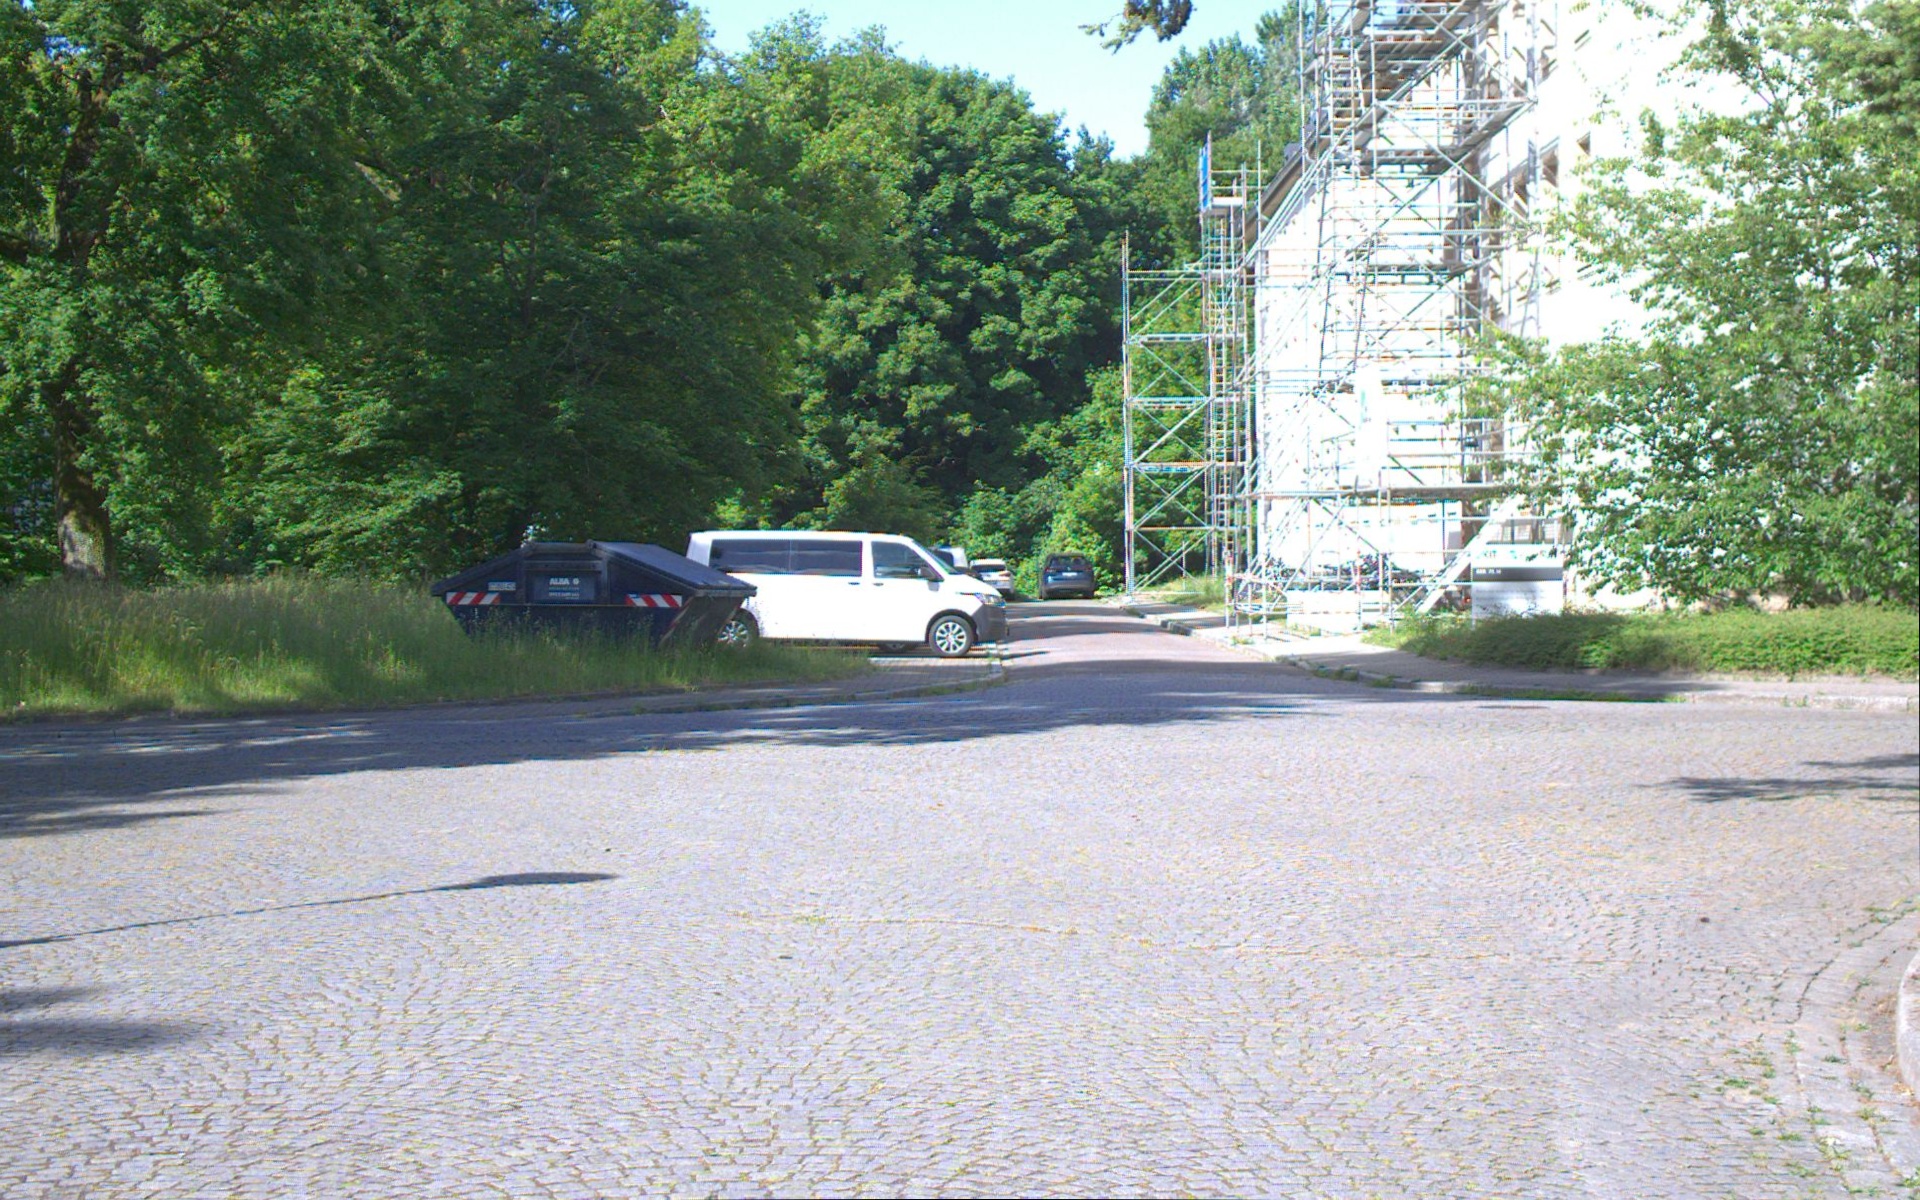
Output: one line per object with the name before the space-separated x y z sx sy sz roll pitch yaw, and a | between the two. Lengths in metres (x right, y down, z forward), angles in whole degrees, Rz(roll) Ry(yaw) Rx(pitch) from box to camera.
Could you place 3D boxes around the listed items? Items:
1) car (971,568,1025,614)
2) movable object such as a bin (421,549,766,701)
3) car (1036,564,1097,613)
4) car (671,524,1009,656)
car | 1.301 -0.324 120.350 1.812 1.574 4.135 -1 0 0
movable object such as a bin | -4.384 0.288 41.310 3.569 1.739 2.023 -1 0 19
car | 3.706 -0.416 120.619 1.971 1.662 4.086 -1 0 0
car | -1.865 -0.157 54.373 5.234 2.009 1.950 0 0 0
